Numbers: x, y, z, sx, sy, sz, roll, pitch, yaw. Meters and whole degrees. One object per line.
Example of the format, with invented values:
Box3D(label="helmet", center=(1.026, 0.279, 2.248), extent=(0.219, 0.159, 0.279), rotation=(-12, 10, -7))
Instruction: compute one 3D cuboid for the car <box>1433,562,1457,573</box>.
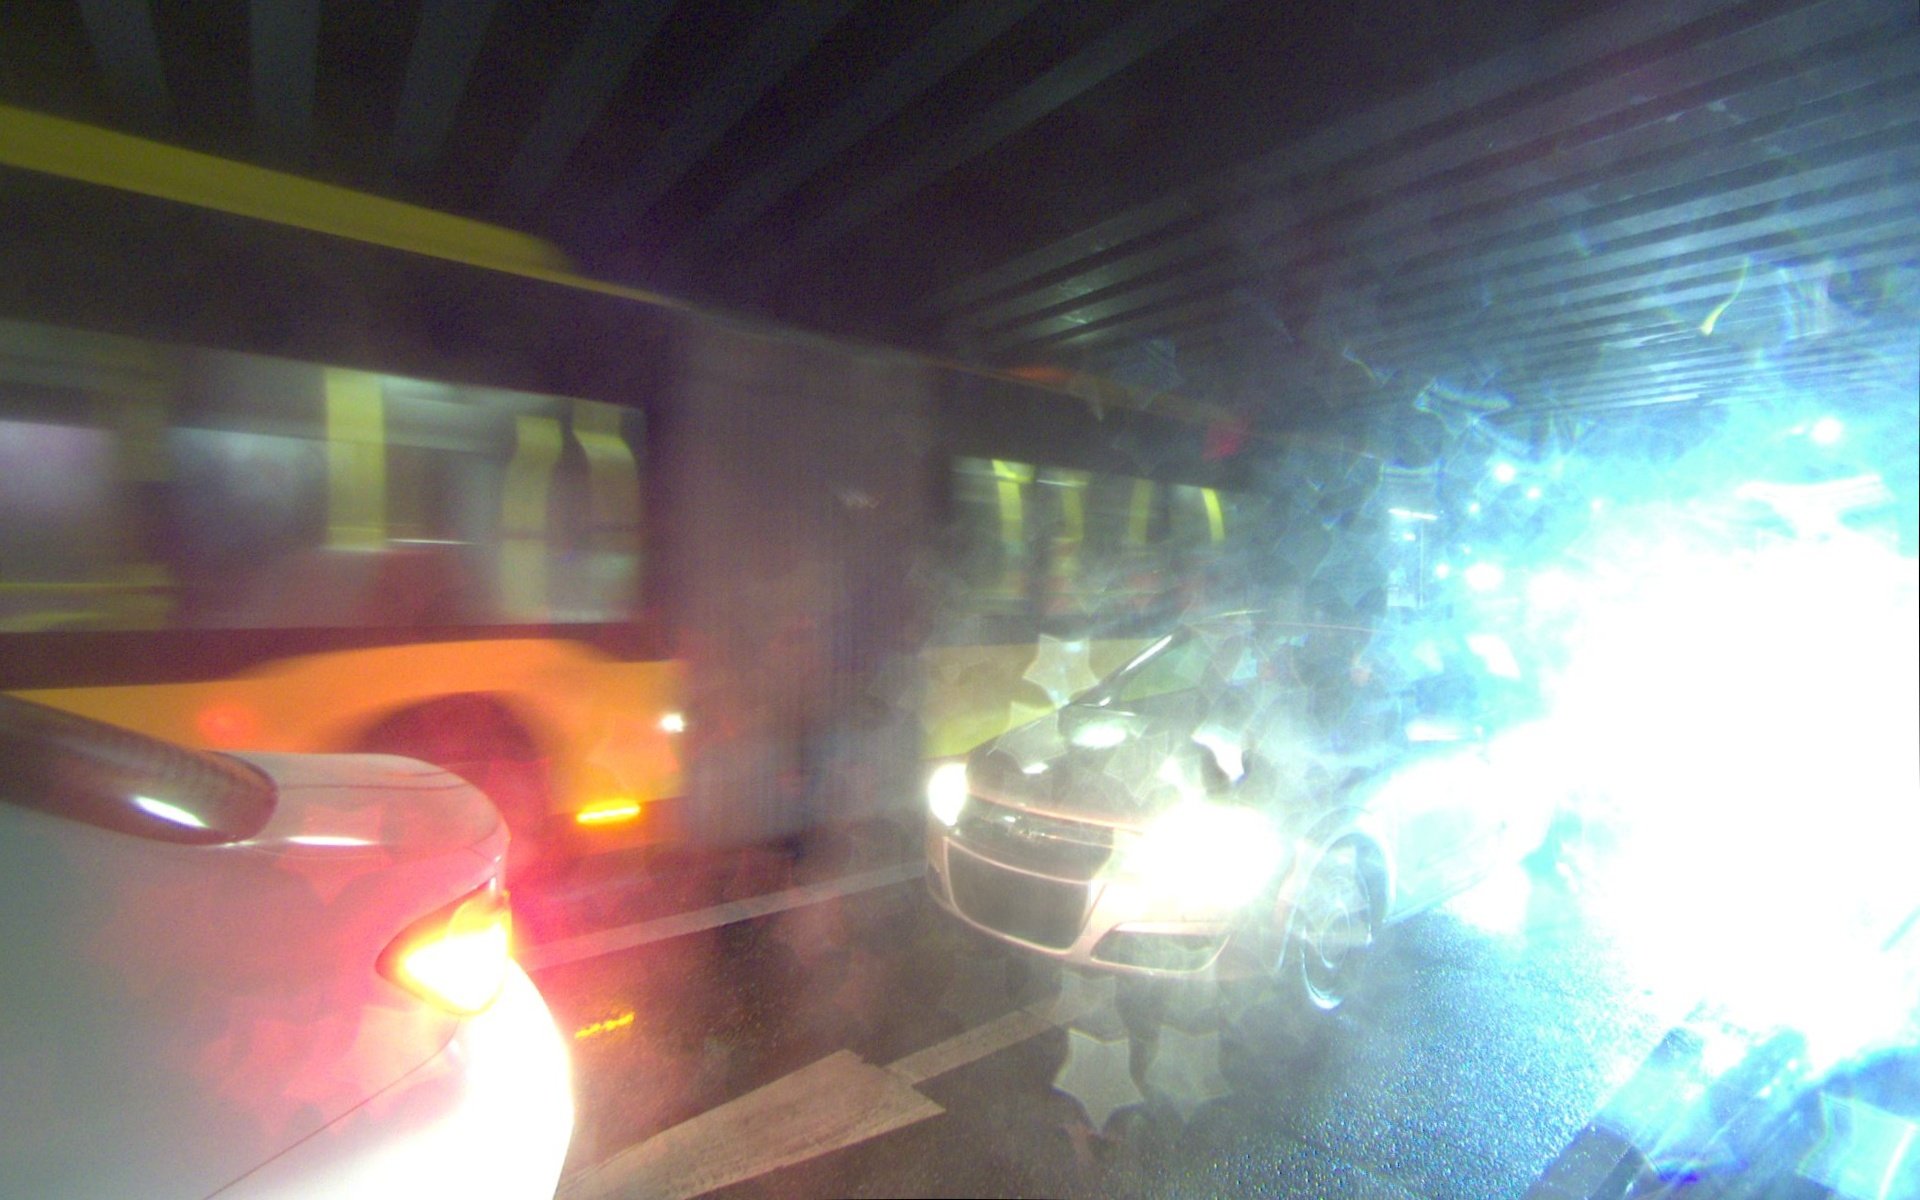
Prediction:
Box3D(label="car", center=(69.391, -4.665, 144.833), extent=(1.849, 1.490, 3.994), rotation=(0, 0, 6))

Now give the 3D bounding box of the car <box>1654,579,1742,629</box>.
Box3D(label="car", center=(24.096, 0.114, 32.978), extent=(1.847, 1.503, 4.558), rotation=(2, 1, 42))

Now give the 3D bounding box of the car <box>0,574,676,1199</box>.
Box3D(label="car", center=(-2.660, 0.691, 1.014), extent=(4.273, 1.422, 1.719), rotation=(-1, 0, -41))

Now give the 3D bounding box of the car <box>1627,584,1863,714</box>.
Box3D(label="car", center=(10.794, 0.554, 13.844), extent=(3.701, 1.531, 1.867), rotation=(-1, 0, -41))

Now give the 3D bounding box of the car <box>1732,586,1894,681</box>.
Box3D(label="car", center=(15.391, 0.520, 18.194), extent=(3.930, 1.522, 1.628), rotation=(-1, 0, -41))

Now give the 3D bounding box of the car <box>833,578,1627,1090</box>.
Box3D(label="car", center=(1.536, 0.627, 4.841), extent=(3.931, 1.384, 1.791), rotation=(-2, 2, -41))

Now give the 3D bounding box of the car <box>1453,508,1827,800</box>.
Box3D(label="car", center=(6.529, 0.364, 9.522), extent=(4.274, 2.115, 1.996), rotation=(-1, 0, -43))

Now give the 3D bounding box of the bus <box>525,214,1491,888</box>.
Box3D(label="bus", center=(1.519, -0.231, 9.062), extent=(9.597, 3.163, 2.772), rotation=(0, 0, -43))

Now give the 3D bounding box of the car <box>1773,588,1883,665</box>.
Box3D(label="car", center=(18.740, 0.501, 21.805), extent=(1.678, 1.490, 3.939), rotation=(0, 0, 42))

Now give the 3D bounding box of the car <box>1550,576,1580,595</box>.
Box3D(label="car", center=(50.503, -1.209, 84.553), extent=(1.864, 1.490, 3.963), rotation=(0, 0, 27))

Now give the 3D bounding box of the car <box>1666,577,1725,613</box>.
Box3D(label="car", center=(31.628, -0.231, 43.492), extent=(1.845, 1.474, 4.439), rotation=(1, 1, 39))

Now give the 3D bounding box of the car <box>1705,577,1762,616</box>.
Box3D(label="car", center=(42.119, -0.213, 55.166), extent=(1.984, 2.039, 3.957), rotation=(0, 0, 31))

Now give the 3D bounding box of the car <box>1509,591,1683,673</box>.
Box3D(label="car", center=(13.291, 0.576, 21.042), extent=(4.548, 1.497, 1.840), rotation=(-1, 0, -41))

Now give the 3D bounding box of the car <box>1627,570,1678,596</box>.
Box3D(label="car", center=(40.911, -1.003, 59.872), extent=(1.835, 1.449, 4.462), rotation=(0, 2, 26))

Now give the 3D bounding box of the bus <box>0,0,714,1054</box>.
Box3D(label="bus", center=(-5.566, -0.237, 2.391), extent=(9.597, 3.163, 2.772), rotation=(0, 0, -43))

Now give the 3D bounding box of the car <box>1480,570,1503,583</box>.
Box3D(label="car", center=(63.651, -2.861, 121.302), extent=(1.858, 1.490, 3.976), rotation=(0, 0, 19))

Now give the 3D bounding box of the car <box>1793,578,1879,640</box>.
Box3D(label="car", center=(24.610, 0.219, 28.395), extent=(1.737, 1.610, 3.939), rotation=(0, 0, 42))
